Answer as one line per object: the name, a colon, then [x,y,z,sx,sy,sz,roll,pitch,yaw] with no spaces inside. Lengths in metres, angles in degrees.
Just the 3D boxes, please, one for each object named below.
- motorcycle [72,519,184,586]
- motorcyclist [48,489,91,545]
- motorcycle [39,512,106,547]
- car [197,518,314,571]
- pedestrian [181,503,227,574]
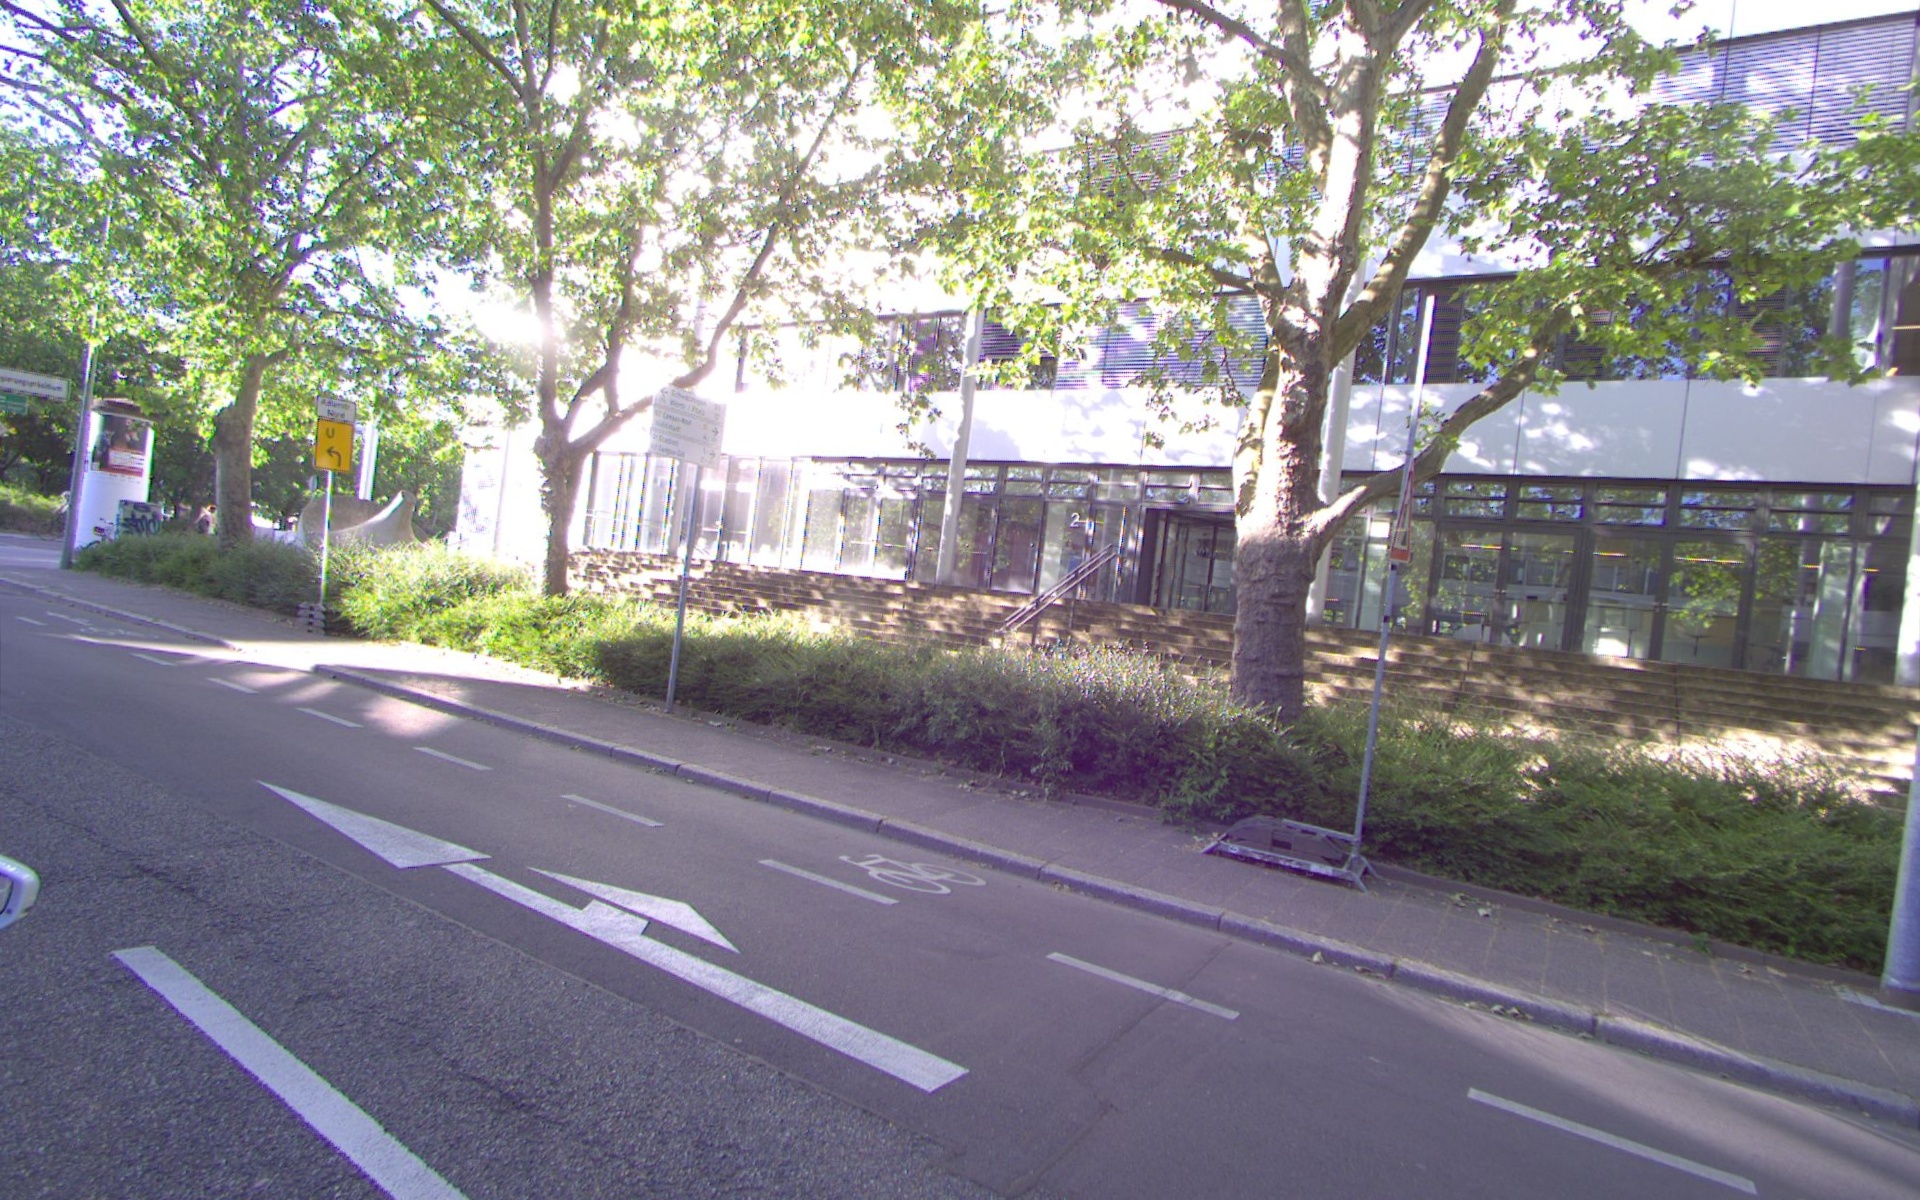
motorcycle: [-19.233,-1.089,23.281,0.712,1.257,1.782,6,-2,37]
motorcyclist: [-32.882,-3.069,37.167,0.370,1.899,0.983,6,-1,36]
motorcycle: [-32.841,-2.613,37.250,0.409,1.014,1.720,7,-1,36]
car: [-32.708,-2.553,46.823,1.708,1.792,3.996,7,-1,30]
pedestrian: [-21.023,-1.699,27.978,0.656,1.849,0.648,7,0,31]
